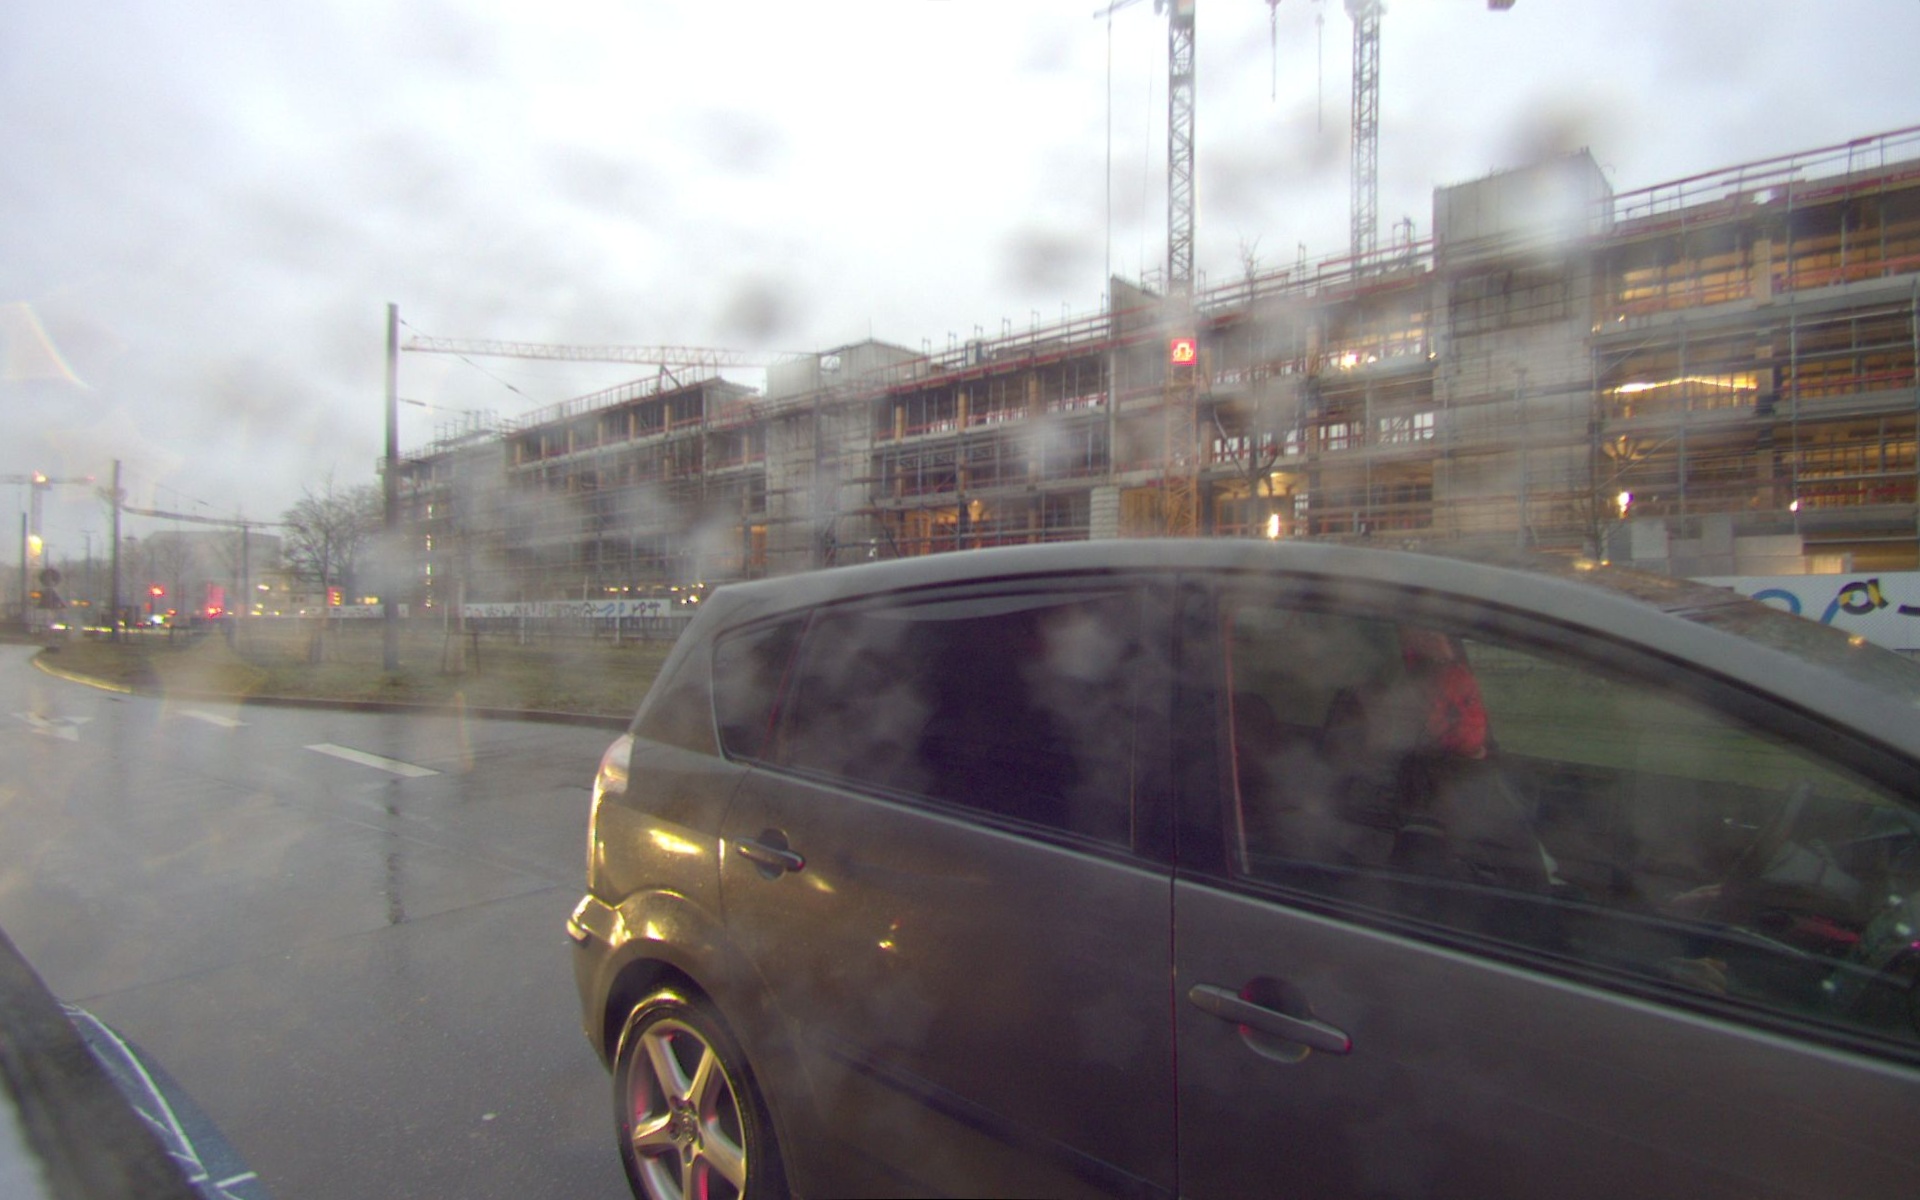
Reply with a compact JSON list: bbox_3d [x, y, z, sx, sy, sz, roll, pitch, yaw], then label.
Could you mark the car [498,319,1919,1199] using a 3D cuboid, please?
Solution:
[{"bbox_3d":[1.014,0.595,1.887,4.131,1.659,1.793,-1,-1,39],"label":"car"}]
